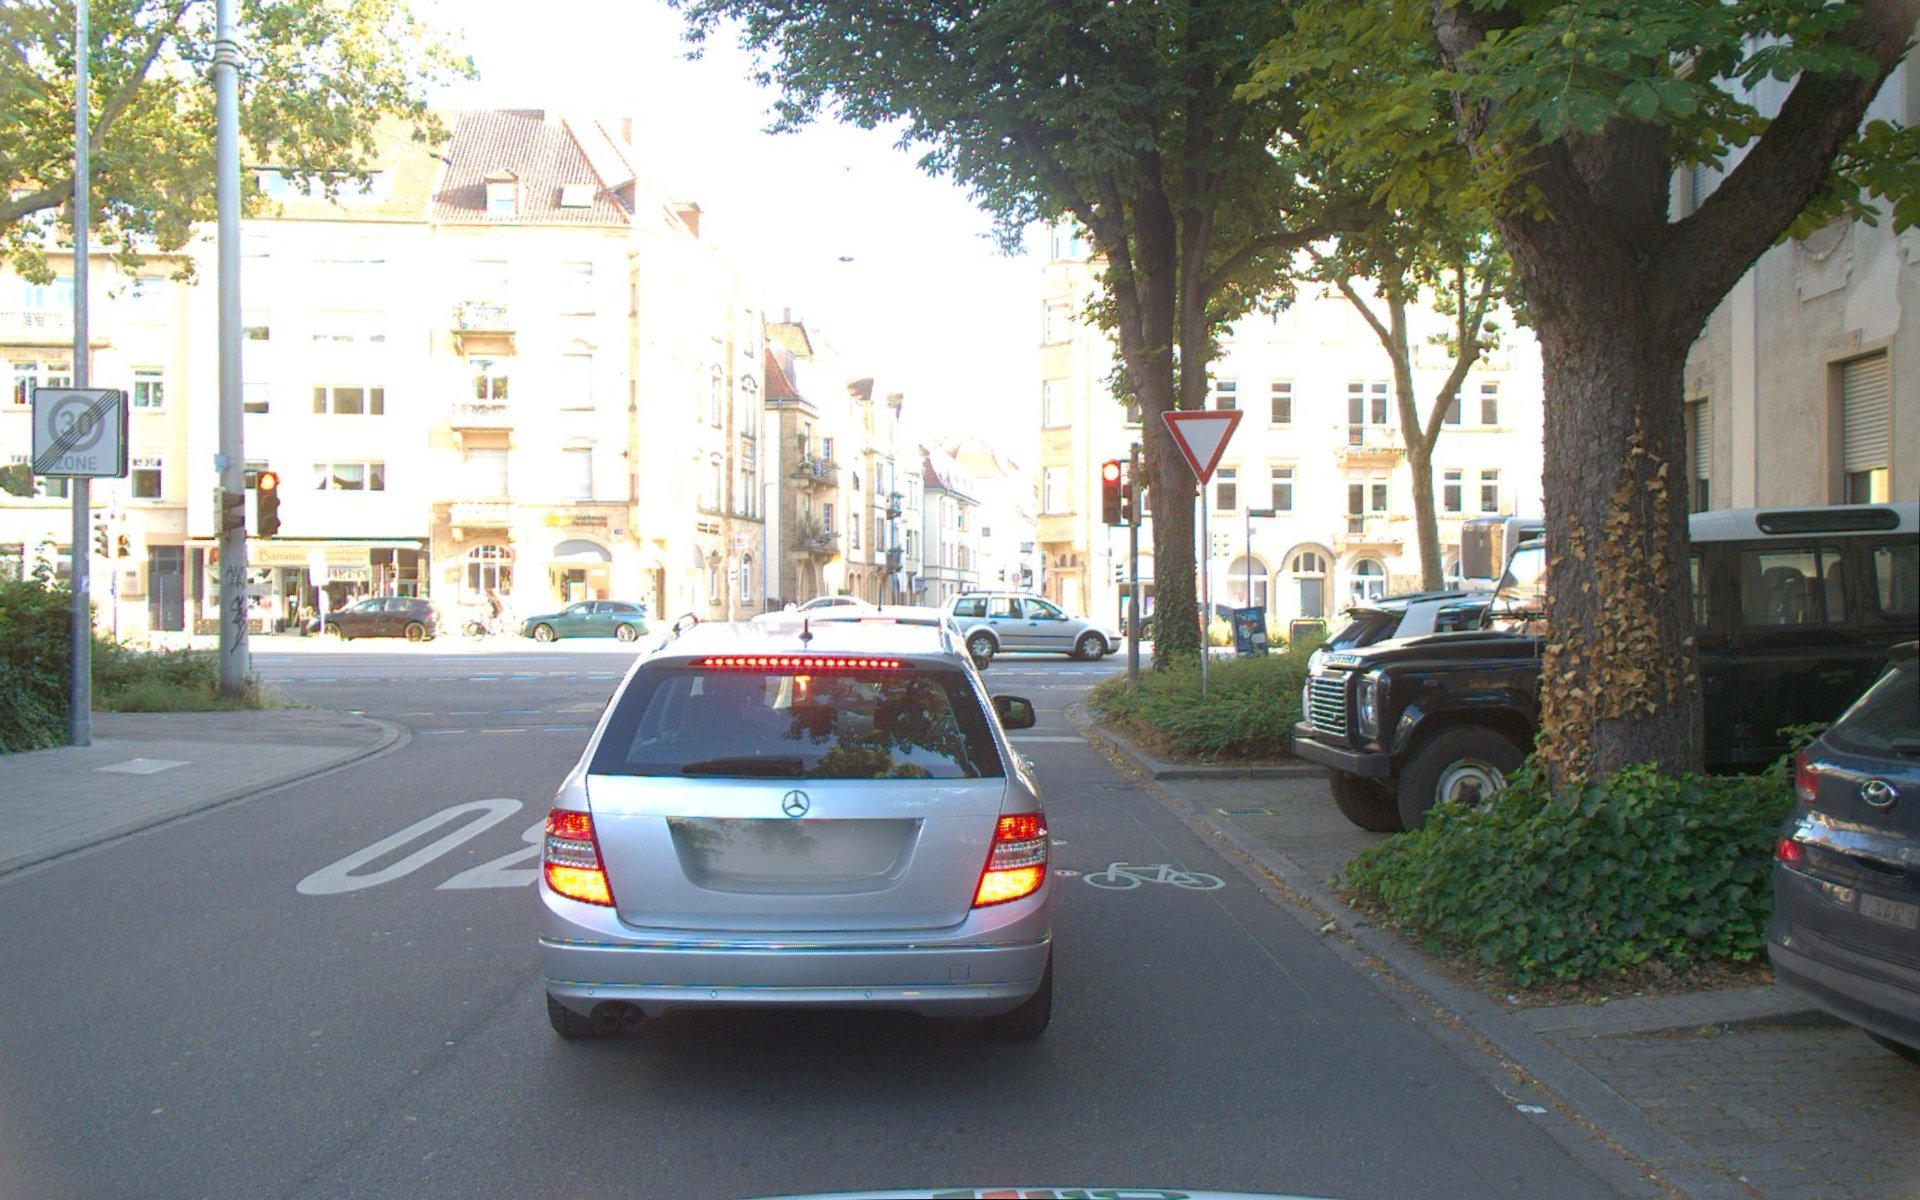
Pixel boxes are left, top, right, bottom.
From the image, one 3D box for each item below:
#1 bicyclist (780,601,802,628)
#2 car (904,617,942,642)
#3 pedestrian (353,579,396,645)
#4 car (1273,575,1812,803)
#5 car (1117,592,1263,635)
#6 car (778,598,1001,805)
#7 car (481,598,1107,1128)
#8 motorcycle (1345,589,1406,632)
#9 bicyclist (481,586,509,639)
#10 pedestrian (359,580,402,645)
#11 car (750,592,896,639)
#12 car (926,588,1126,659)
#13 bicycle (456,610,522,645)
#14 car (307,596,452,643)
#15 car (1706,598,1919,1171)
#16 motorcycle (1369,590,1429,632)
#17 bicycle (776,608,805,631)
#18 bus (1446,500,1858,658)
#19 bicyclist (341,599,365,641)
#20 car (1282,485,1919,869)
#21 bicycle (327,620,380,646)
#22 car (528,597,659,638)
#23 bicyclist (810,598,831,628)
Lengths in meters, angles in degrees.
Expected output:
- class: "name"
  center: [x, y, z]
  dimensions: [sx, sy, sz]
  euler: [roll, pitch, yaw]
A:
- class: "bicyclist"
  center: [-7.481, 0.630, 73.324]
  dimensions: [0.754, 1.177, 0.753]
  euler: [1, 0, 10]
- class: "car"
  center: [-2.263, 1.796, 102.456]
  dimensions: [1.796, 1.427, 4.003]
  euler: [0, 1, 7]
- class: "pedestrian"
  center: [-22.471, 0.466, 63.492]
  dimensions: [1.320, 2.507, 1.059]
  euler: [0, 0, -5]
- class: "car"
  center: [4.509, 0.655, 13.135]
  dimensions: [3.650, 1.597, 1.707]
  euler: [-1, 0, -4]
- class: "car"
  center: [8.002, 0.447, 57.779]
  dimensions: [4.788, 1.477, 1.857]
  euler: [0, 0, -5]
- class: "car"
  center: [-0.592, 0.729, 14.017]
  dimensions: [1.587, 1.472, 4.342]
  euler: [1, 0, -2]
- class: "car"
  center: [-0.552, 0.741, 6.927]
  dimensions: [1.741, 1.477, 4.546]
  euler: [1, 0, -2]
- class: "motorcycle"
  center: [14.489, 0.358, 57.685]
  dimensions: [1.993, 1.477, 0.568]
  euler: [0, 0, -5]
- class: "bicyclist"
  center: [-16.907, 0.448, 60.147]
  dimensions: [0.874, 1.892, 0.636]
  euler: [0, 0, -5]
- class: "pedestrian"
  center: [-22.621, 0.478, 64.580]
  dimensions: [1.320, 2.507, 1.059]
  euler: [0, 0, -5]
- class: "car"
  center: [-4.450, 0.483, 53.614]
  dimensions: [4.613, 1.486, 1.834]
  euler: [0, 0, -7]
- class: "car"
  center: [1.450, 0.494, 36.942]
  dimensions: [4.263, 1.523, 1.659]
  euler: [0, 0, -7]
- class: "bicycle"
  center: [-17.122, 0.992, 60.122]
  dimensions: [2.212, 1.268, 0.636]
  euler: [0, 0, -5]
- class: "car"
  center: [-18.004, 0.597, 51.416]
  dimensions: [3.956, 1.384, 1.661]
  euler: [0, 0, -7]
- class: "car"
  center: [4.282, 0.701, 4.589]
  dimensions: [3.650, 1.477, 1.707]
  euler: [-1, 0, -4]
- class: "motorcycle"
  center: [15.620, 0.378, 58.914]
  dimensions: [1.993, 1.477, 0.568]
  euler: [0, 0, -5]
- class: "bicycle"
  center: [-7.499, 0.855, 73.245]
  dimensions: [0.754, 0.956, 1.942]
  euler: [1, 0, 10]
- class: "bus"
  center: [15.060, -0.487, 36.235]
  dimensions: [8.024, 3.257, 2.906]
  euler: [-1, 0, -9]
- class: "bicyclist"
  center: [-20.897, 0.690, 56.913]
  dimensions: [0.631, 1.451, 0.636]
  euler: [0, 0, -6]
- class: "car"
  center: [4.368, 0.409, 10.168]
  dimensions: [4.377, 2.072, 1.699]
  euler: [-1, 0, -4]
- class: "bicycle"
  center: [-20.863, 1.140, 56.911]
  dimensions: [1.586, 0.892, 0.636]
  euler: [0, 0, -6]
- class: "car"
  center: [-12.307, 0.577, 55.787]
  dimensions: [4.140, 1.372, 1.662]
  euler: [0, 0, -7]
- class: "bicyclist"
  center: [-6.201, 0.570, 73.354]
  dimensions: [0.754, 1.312, 0.753]
  euler: [1, 0, 10]
